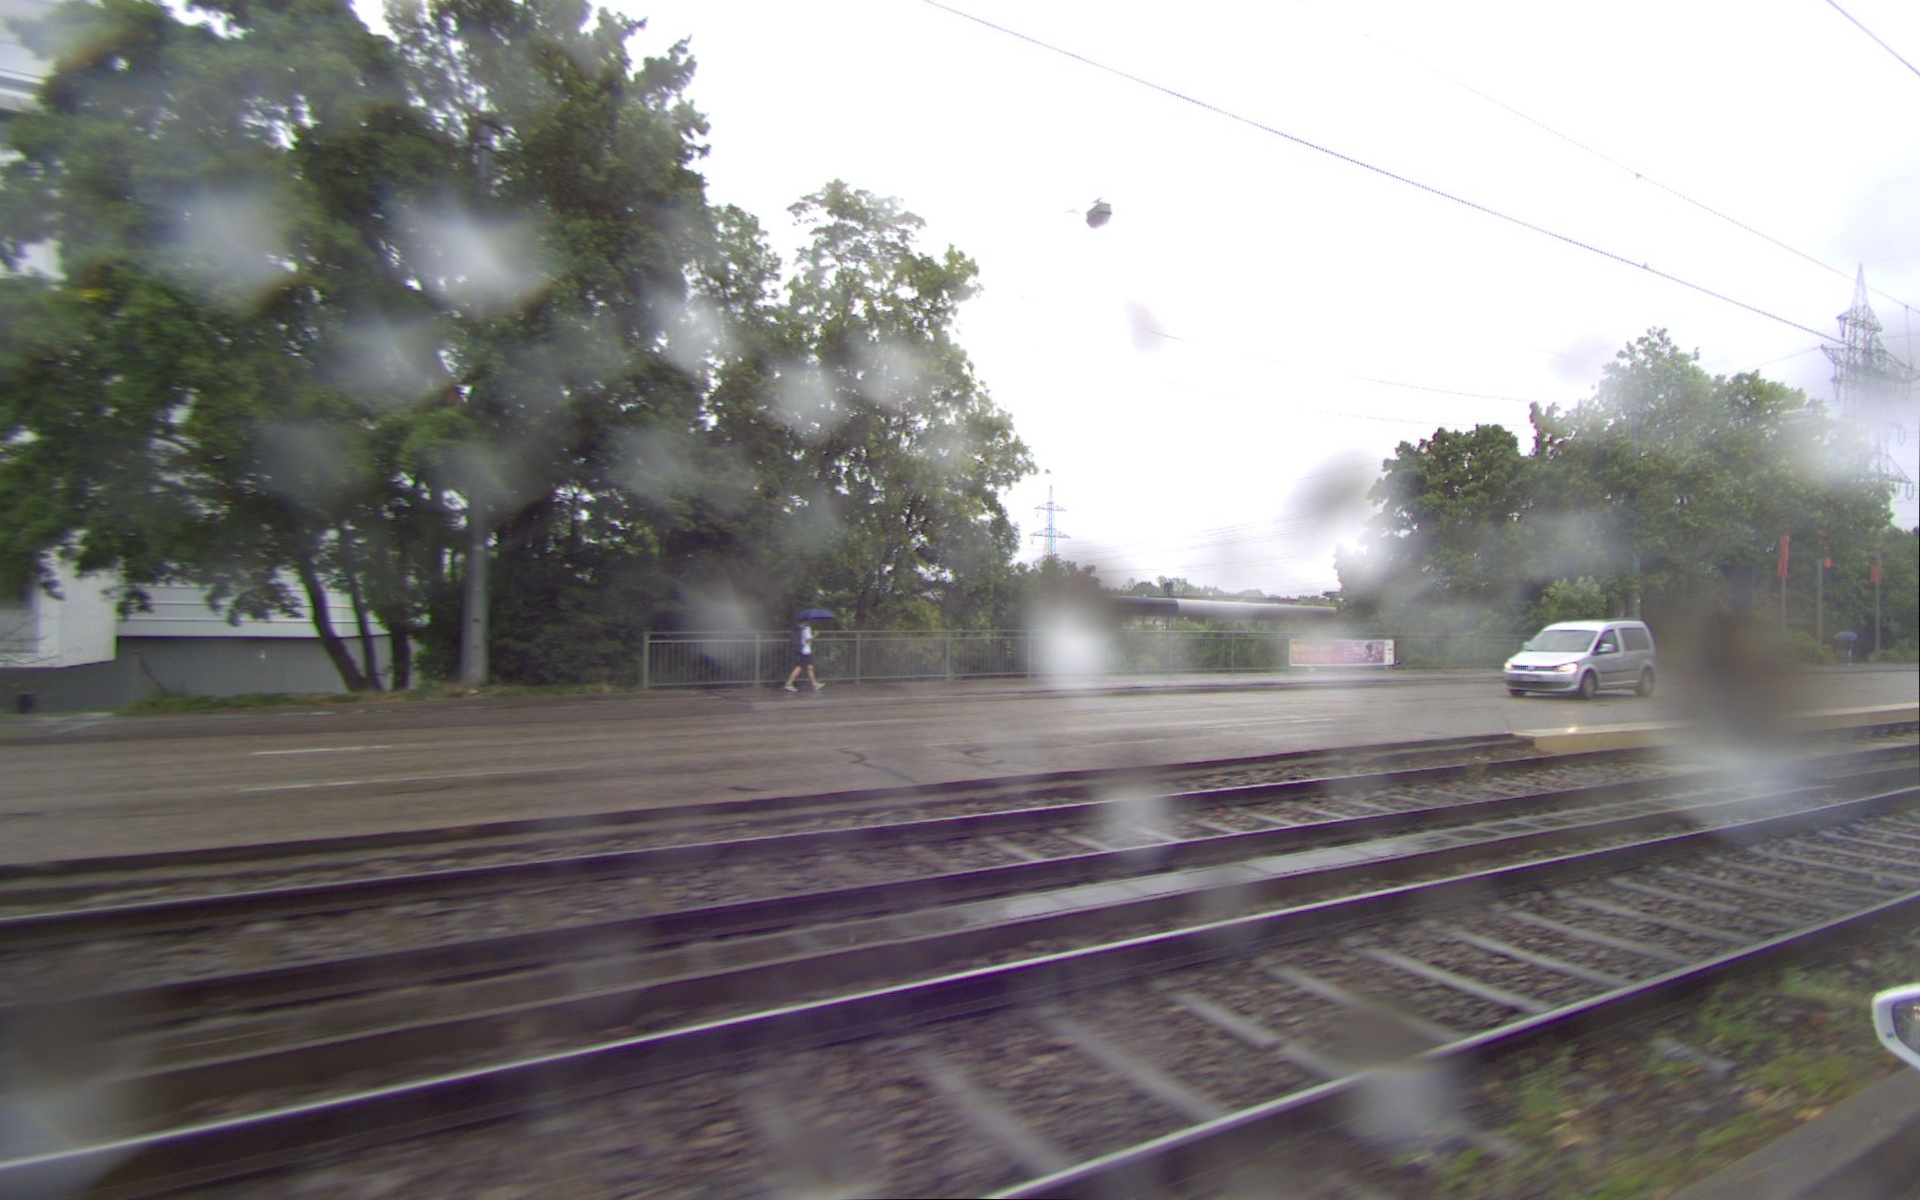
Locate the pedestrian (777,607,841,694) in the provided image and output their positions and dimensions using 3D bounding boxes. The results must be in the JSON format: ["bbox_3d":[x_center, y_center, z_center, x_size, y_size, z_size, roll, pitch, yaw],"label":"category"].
[{"bbox_3d":[-3.215,1.067,21.359,1.107,1.782,0.848,1,-2,-30],"label":"pedestrian"}]

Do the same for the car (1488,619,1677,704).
[{"bbox_3d":[14.866,1.404,23.936,4.606,1.840,1.983,1,-1,-31],"label":"car"}]
